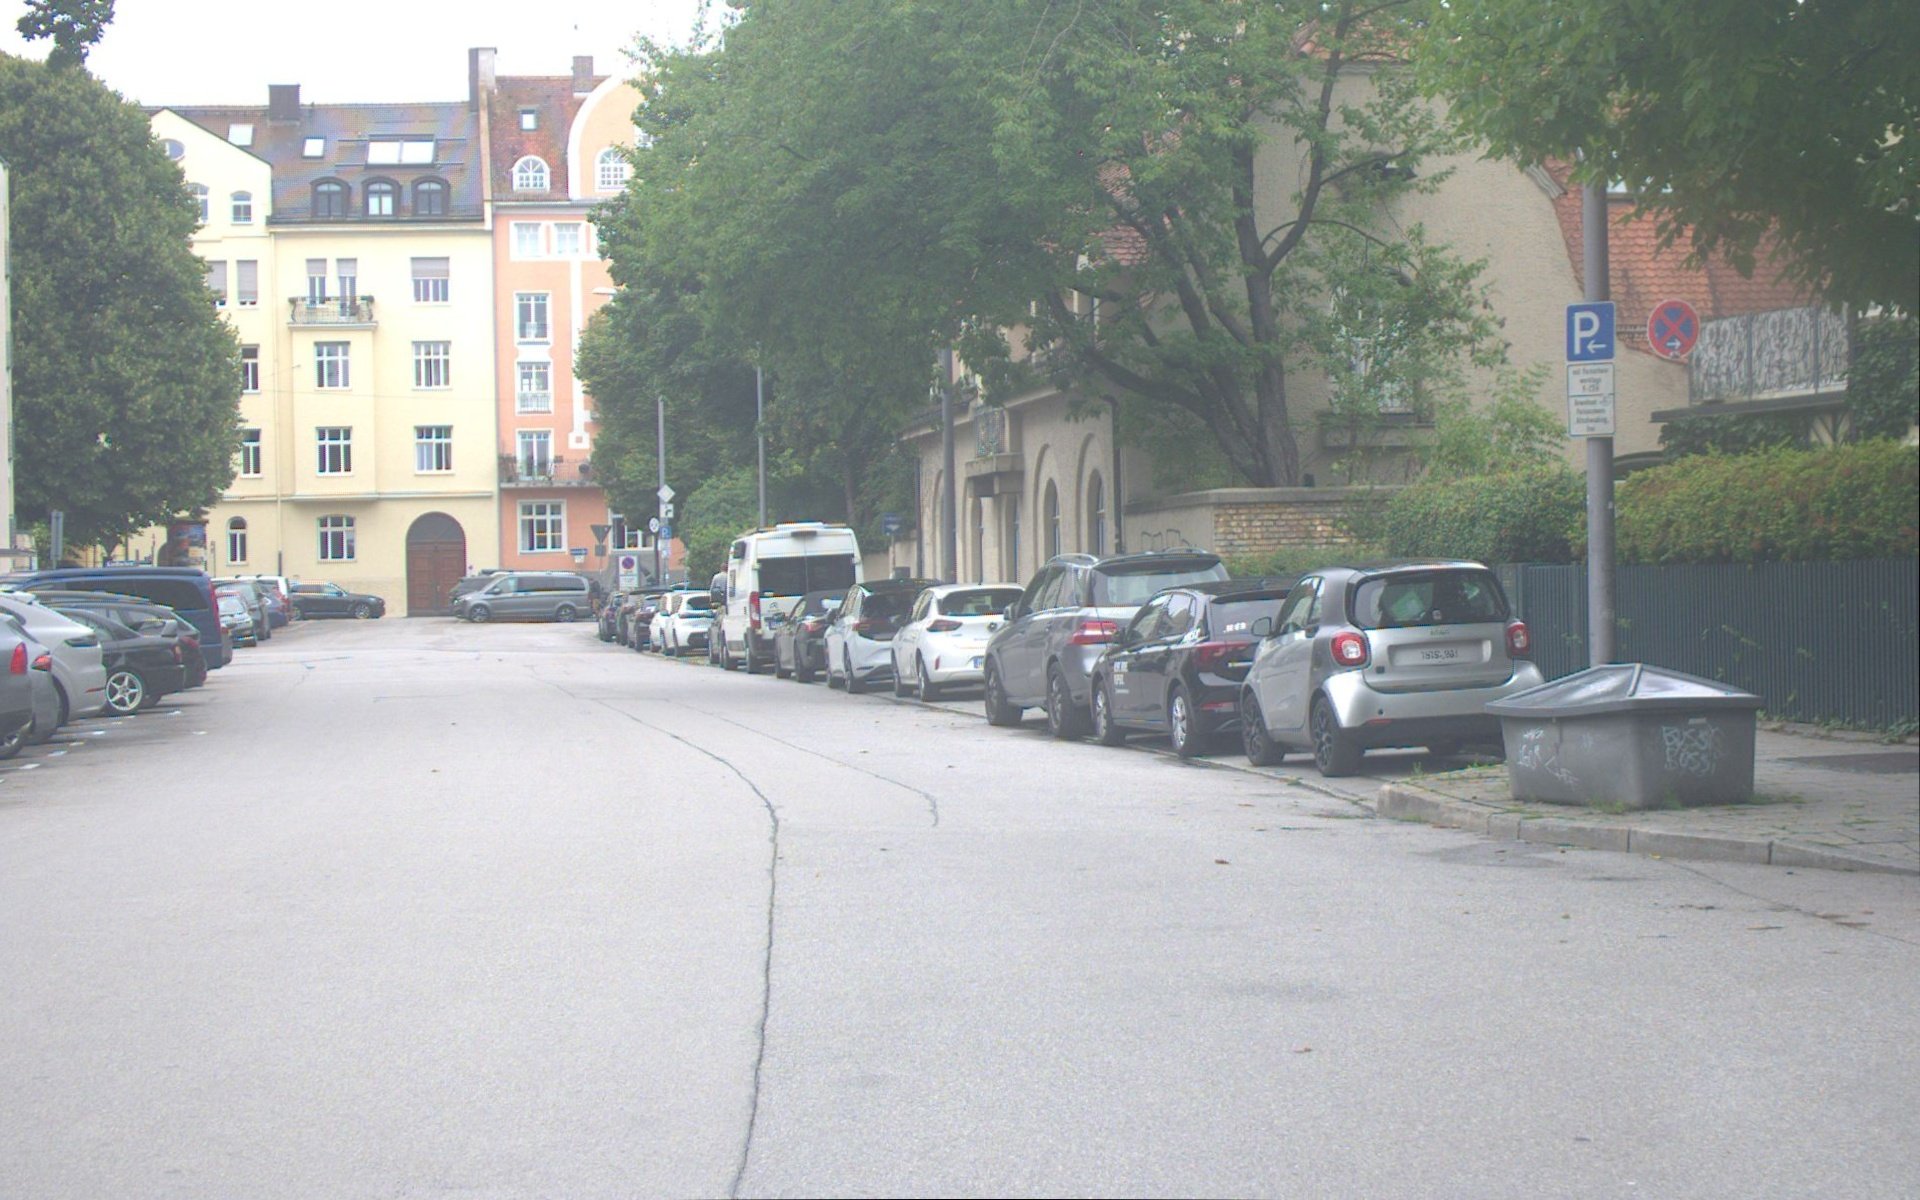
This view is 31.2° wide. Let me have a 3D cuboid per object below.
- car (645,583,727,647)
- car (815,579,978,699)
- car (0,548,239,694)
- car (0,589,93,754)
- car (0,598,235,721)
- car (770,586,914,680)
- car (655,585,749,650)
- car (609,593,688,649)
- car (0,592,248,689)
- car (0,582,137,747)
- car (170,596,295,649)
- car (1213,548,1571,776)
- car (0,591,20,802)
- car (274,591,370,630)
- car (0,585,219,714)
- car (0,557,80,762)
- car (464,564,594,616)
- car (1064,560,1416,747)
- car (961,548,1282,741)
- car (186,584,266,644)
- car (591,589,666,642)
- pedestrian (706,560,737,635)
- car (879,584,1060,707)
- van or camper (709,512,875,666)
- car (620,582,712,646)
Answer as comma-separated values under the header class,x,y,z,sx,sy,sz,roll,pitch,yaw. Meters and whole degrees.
class,x,y,z,sx,sy,sz,roll,pitch,yaw
car,-6.746,0.356,84.439,1.707,1.461,3.838,-2,0,-8
car,-0.952,0.530,48.936,1.707,1.532,4.241,-3,0,-8
car,-13.438,0.316,52.811,4.205,2.059,1.737,-3,1,-38
car,-10.391,0.701,31.264,4.400,1.486,2.016,-1,0,-40
car,-11.911,0.792,45.347,4.204,1.456,1.737,-3,1,-30
car,-1.920,0.501,54.651,1.707,1.364,4.442,-2,0,-9
car,-6.004,0.397,79.552,1.707,1.403,4.131,-2,0,-10
car,-8.528,0.563,94.010,1.669,1.339,3.839,-2,2,-12
car,-15.549,0.736,63.987,4.108,1.604,1.736,-3,1,-41
car,-10.802,0.692,34.701,4.398,1.615,2.086,-1,0,-30
car,-24.709,0.752,116.939,3.986,1.503,1.840,-4,1,-9
car,3.174,0.454,25.773,1.738,1.531,2.947,-3,0,-12
car,-8.745,0.716,22.791,4.399,1.434,1.965,-1,0,-39
car,-27.698,0.454,149.386,3.986,1.581,1.704,-1,0,-8
car,-11.530,0.632,42.593,4.205,1.456,1.736,-3,1,-39
car,-9.808,0.548,28.377,4.400,1.693,2.136,-1,0,-41
car,-16.092,-0.362,128.385,4.702,1.874,1.841,-1,0,-10
car,2.334,0.427,29.833,1.876,1.422,4.223,-3,0,-12
car,1.517,0.411,34.407,1.993,1.705,4.886,-3,0,-12
car,-20.307,0.387,95.205,1.834,1.503,4.001,-4,1,-9
car,-9.554,0.432,98.832,1.669,1.339,3.839,-2,2,-12
pedestrian,-6.458,-0.079,92.969,0.772,2.007,0.563,-1,0,-9
car,0.073,0.565,43.892,1.685,1.436,4.001,-2,0,-8
van or camper,-3.064,-0.187,61.425,2.191,2.541,5.729,-2,0,-10
car,-7.612,0.341,88.641,1.802,1.461,3.839,-2,2,-13
